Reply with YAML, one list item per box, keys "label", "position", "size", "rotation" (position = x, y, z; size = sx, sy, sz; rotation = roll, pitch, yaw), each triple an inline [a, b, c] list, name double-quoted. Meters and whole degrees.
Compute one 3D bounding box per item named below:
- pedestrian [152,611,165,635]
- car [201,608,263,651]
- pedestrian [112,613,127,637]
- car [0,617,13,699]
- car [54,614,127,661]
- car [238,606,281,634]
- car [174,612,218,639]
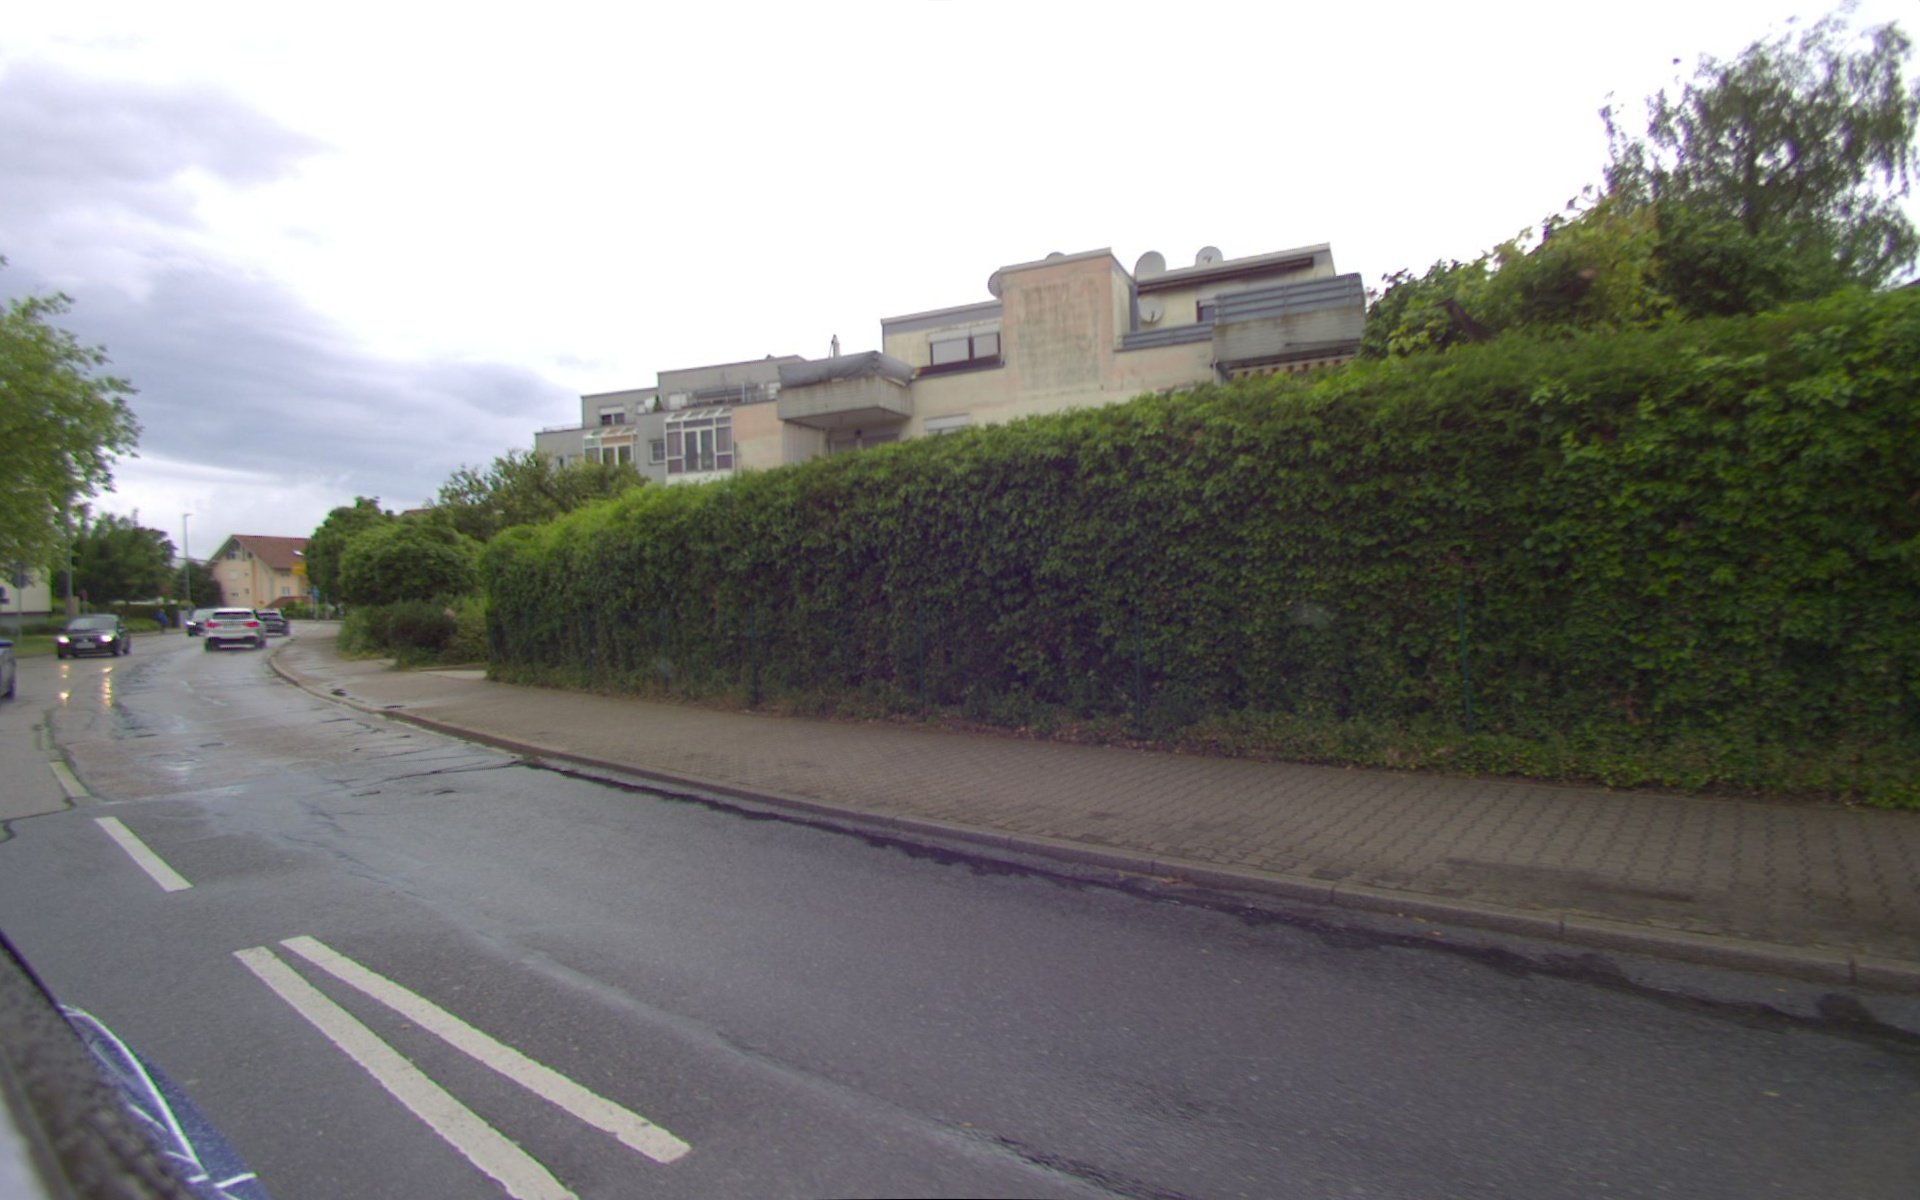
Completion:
- label: "pedestrian"
  position: [-57.187, 1.606, 72.218]
  size: [0.775, 1.679, 0.583]
  rotation: [-1, 1, 42]
- label: "car"
  position: [-29.533, 1.171, 41.135]
  size: [1.865, 1.624, 4.877]
  rotation: [4, -2, -35]
- label: "pedestrian"
  position: [-62.160, 1.851, 74.848]
  size: [0.669, 1.786, 0.608]
  rotation: [-2, 1, 35]
- label: "car"
  position: [-17.641, 1.042, 17.204]
  size: [1.884, 1.444, 4.309]
  rotation: [-1, 0, -39]
- label: "car"
  position: [-31.034, 1.293, 36.200]
  size: [1.813, 1.459, 4.007]
  rotation: [-3, 1, -39]
- label: "car"
  position: [-39.798, 1.111, 57.550]
  size: [1.717, 1.425, 4.154]
  rotation: [-2, 1, -32]
- label: "car"
  position: [-47.985, 1.559, 63.621]
  size: [1.811, 1.561, 4.011]
  rotation: [-3, 1, -33]
